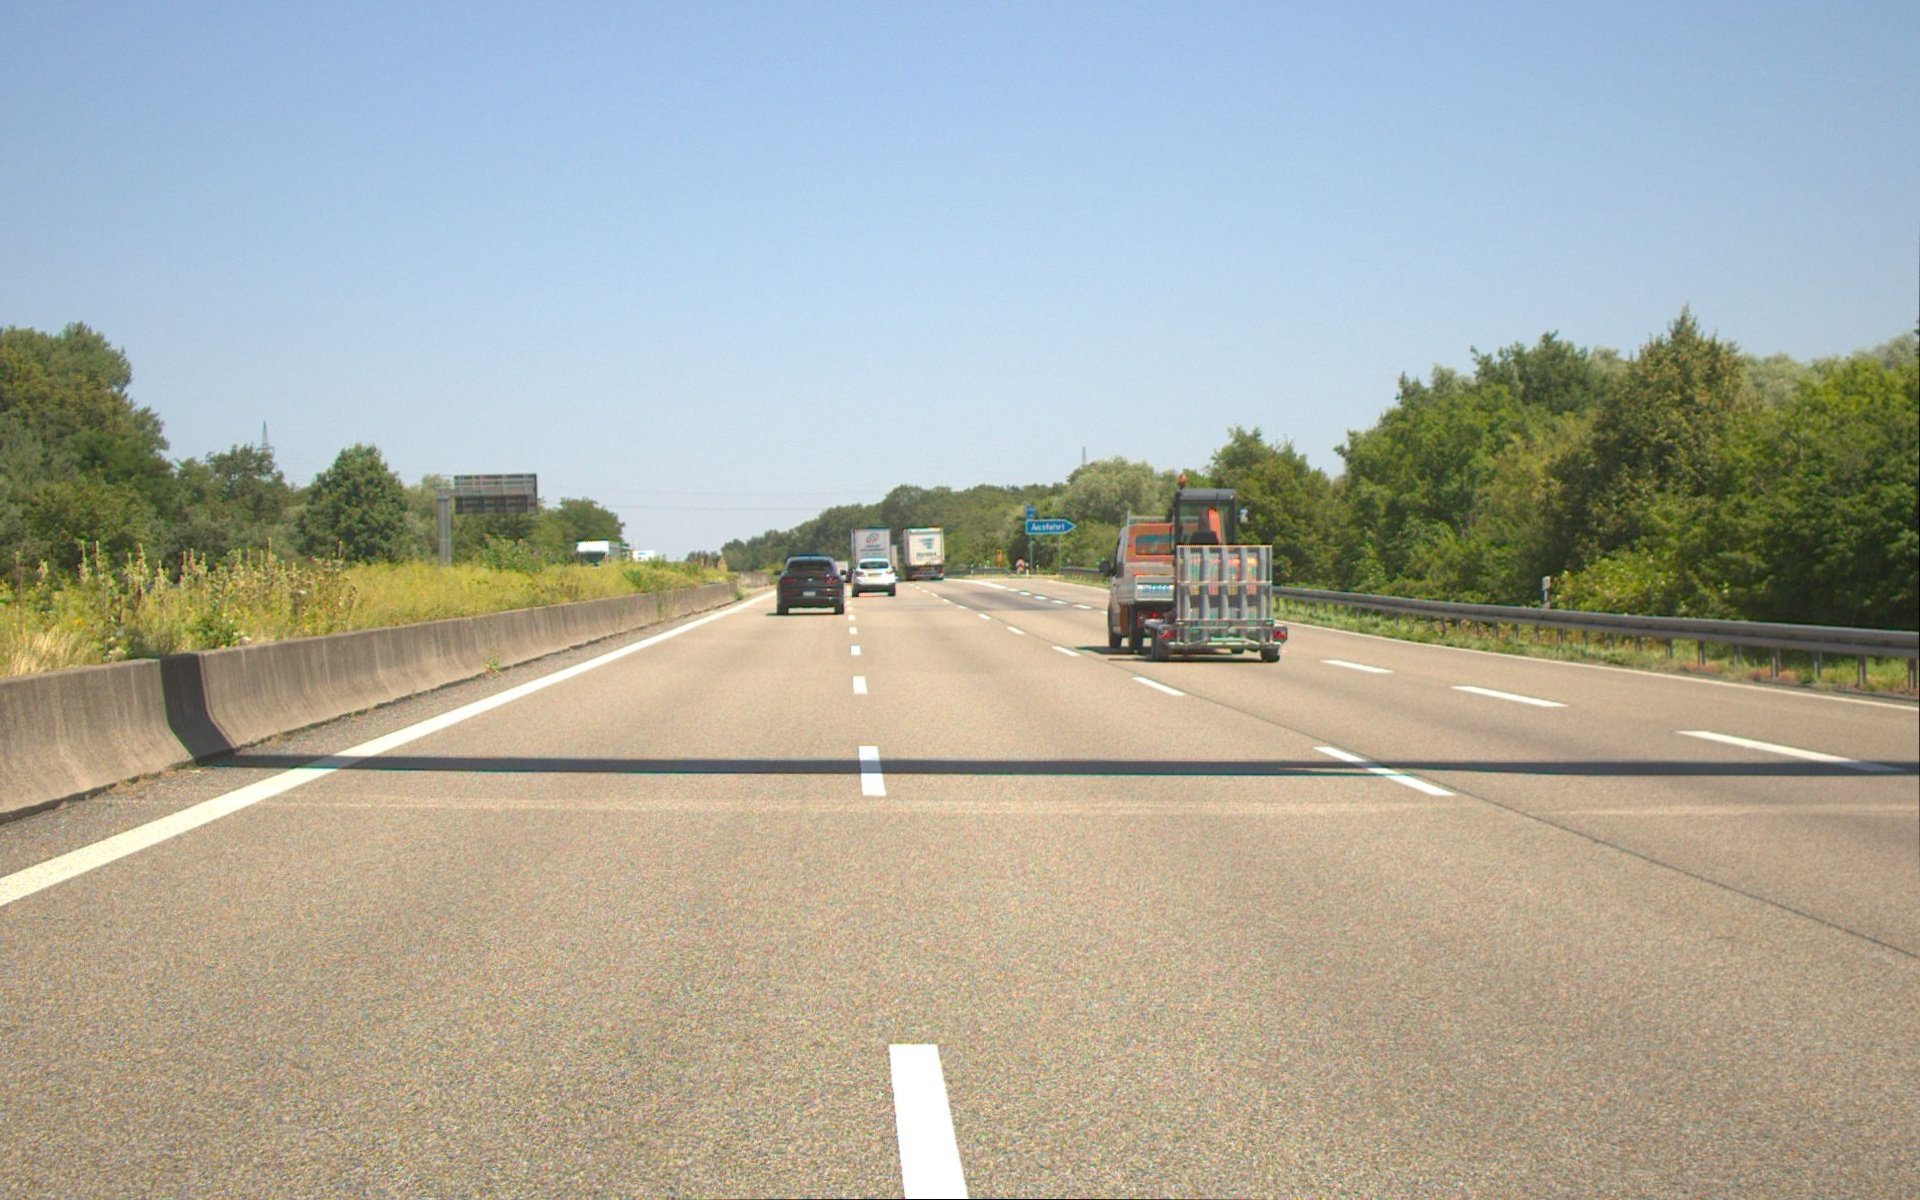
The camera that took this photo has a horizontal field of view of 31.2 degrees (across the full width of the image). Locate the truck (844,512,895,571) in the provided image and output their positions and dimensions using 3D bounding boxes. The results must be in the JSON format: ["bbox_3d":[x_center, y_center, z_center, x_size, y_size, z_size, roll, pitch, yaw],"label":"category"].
[{"bbox_3d":[-6.429,-4.096,242.068,3.309,3.980,8.405,1,0,-3],"label":"truck"}]

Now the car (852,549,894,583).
[{"bbox_3d":[-3.798,-1.472,150.173,1.740,1.481,4.000,0,0,-3],"label":"car"}]

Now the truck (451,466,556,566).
[{"bbox_3d":[-32.713,-5.917,247.441,5.421,6.901,17.006,0,1,-1],"label":"truck"}]

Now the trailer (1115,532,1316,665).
[{"bbox_3d":[4.008,-0.059,55.111,2.420,2.007,6.034,0,1,-3],"label":"trailer"}]

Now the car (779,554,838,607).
[{"bbox_3d":[-4.534,-0.580,102.529,1.660,1.544,3.784,0,1,-4],"label":"car"}]

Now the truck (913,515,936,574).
[{"bbox_3d":[-2.654,-4.126,256.348,1.695,4.352,5.594,0,1,-1],"label":"truck"}]

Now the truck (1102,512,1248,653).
[{"bbox_3d":[3.731,-0.322,60.464,1.993,2.365,4.645,0,1,-3],"label":"truck"}]
